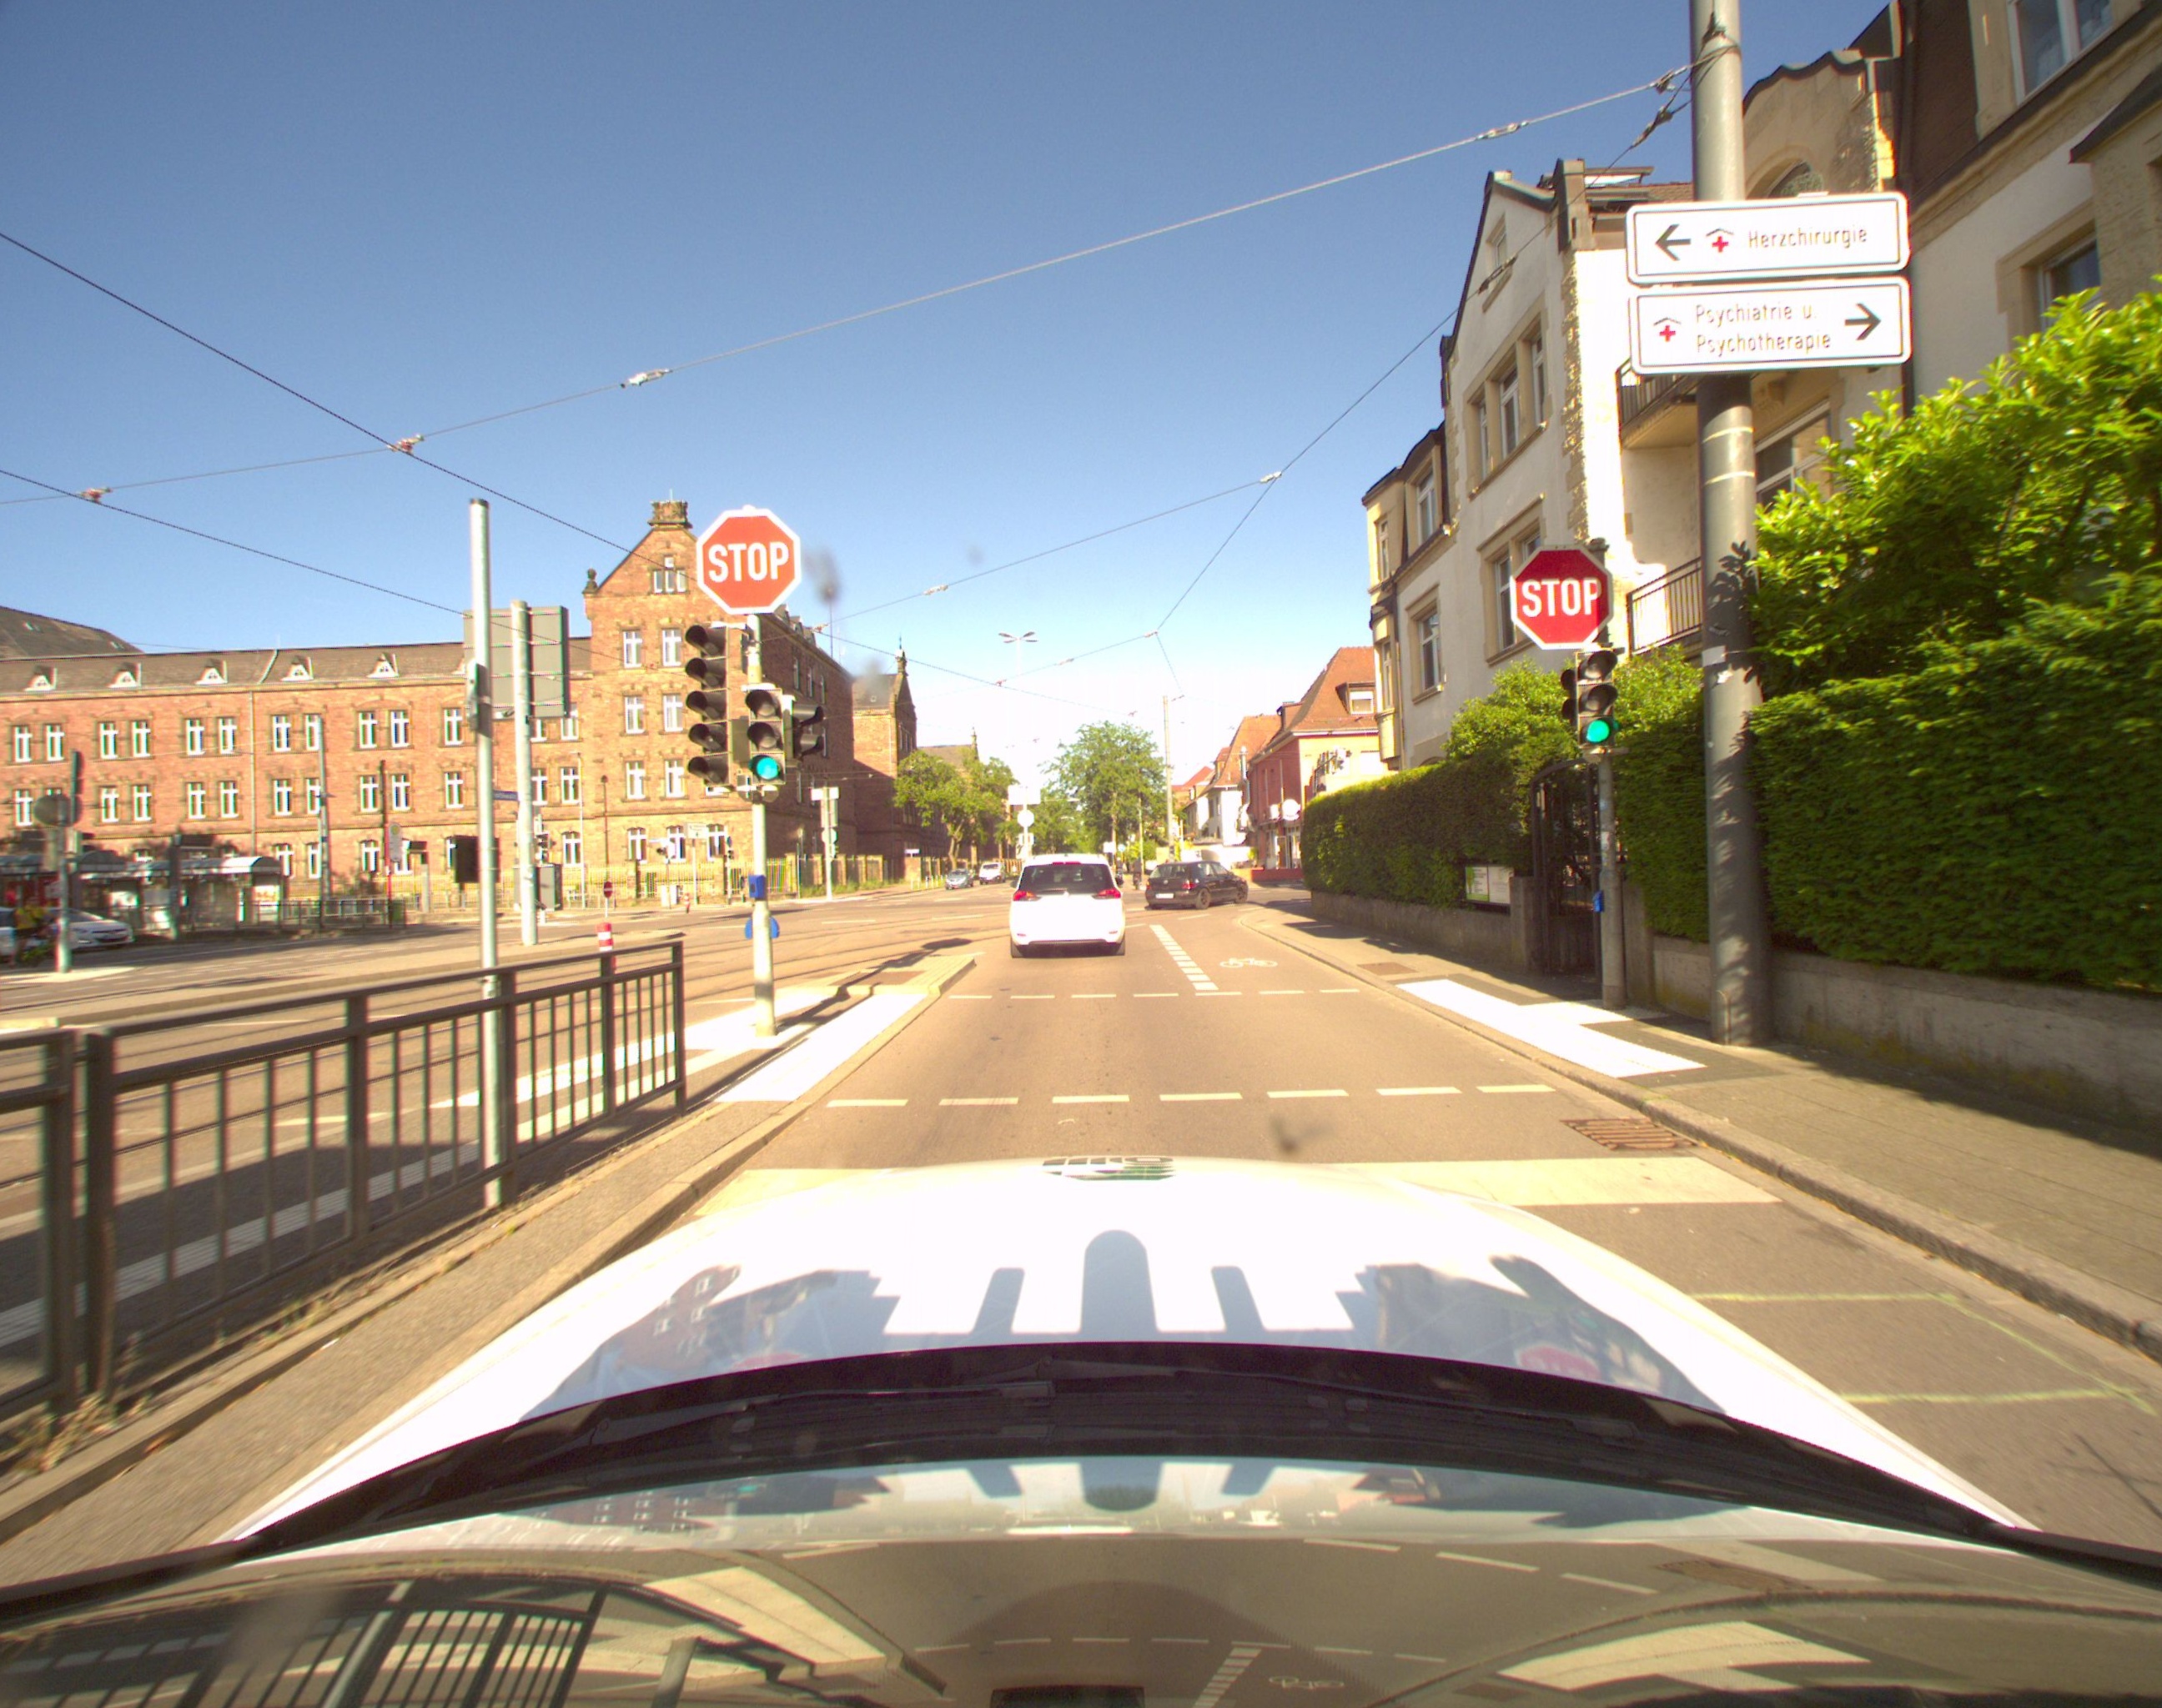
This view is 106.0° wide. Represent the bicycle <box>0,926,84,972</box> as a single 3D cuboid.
[{"bbox_3d":[-25.475,2.294,19.709,1.728,1.013,0.801,-2,-1,1],"label":"bicycle"}]

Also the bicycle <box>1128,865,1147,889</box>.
[{"bbox_3d":[2.877,1.160,41.735,0.826,1.154,2.095,-2,-1,1],"label":"bicycle"}]

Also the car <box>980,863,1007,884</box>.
[{"bbox_3d":[-7.824,1.703,72.784,1.886,1.783,3.880,-2,-1,1],"label":"car"}]

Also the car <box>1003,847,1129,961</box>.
[{"bbox_3d":[-0.151,0.766,14.067,1.828,1.642,3.920,-2,-1,2],"label":"car"}]

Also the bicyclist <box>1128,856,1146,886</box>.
[{"bbox_3d":[2.866,0.853,41.604,0.818,1.501,0.934,-2,-1,1],"label":"bicyclist"}]

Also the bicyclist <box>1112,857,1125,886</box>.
[{"bbox_3d":[2.207,1.026,47.897,0.682,1.634,1.016,-2,-1,4],"label":"bicyclist"}]

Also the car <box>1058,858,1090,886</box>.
[{"bbox_3d":[-0.385,1.102,50.726,1.769,1.632,3.881,-2,-1,2],"label":"car"}]

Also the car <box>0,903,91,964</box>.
[{"bbox_3d":[-30.761,2.241,22.748,4.047,1.522,1.879,-2,-1,3],"label":"car"}]

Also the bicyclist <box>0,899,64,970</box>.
[{"bbox_3d":[-25.460,1.932,19.718,0.632,1.636,0.801,-2,-1,1],"label":"bicyclist"}]

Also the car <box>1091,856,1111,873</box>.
[{"bbox_3d":[2.016,1.088,81.473,1.768,1.632,3.885,-2,-1,4],"label":"car"}]

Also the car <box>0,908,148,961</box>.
[{"bbox_3d":[-32.404,2.514,25.625,4.047,1.447,1.879,-2,-1,3],"label":"car"}]

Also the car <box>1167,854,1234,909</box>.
[{"bbox_3d":[3.435,0.785,24.019,1.580,1.420,3.903,-2,-1,3],"label":"car"}]

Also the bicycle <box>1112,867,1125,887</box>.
[{"bbox_3d":[2.226,1.334,47.981,0.682,1.157,1.621,-1,-1,4],"label":"bicycle"}]

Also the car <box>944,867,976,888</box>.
[{"bbox_3d":[-8.961,1.739,60.470,1.574,1.441,3.587,-2,-1,3],"label":"car"}]
